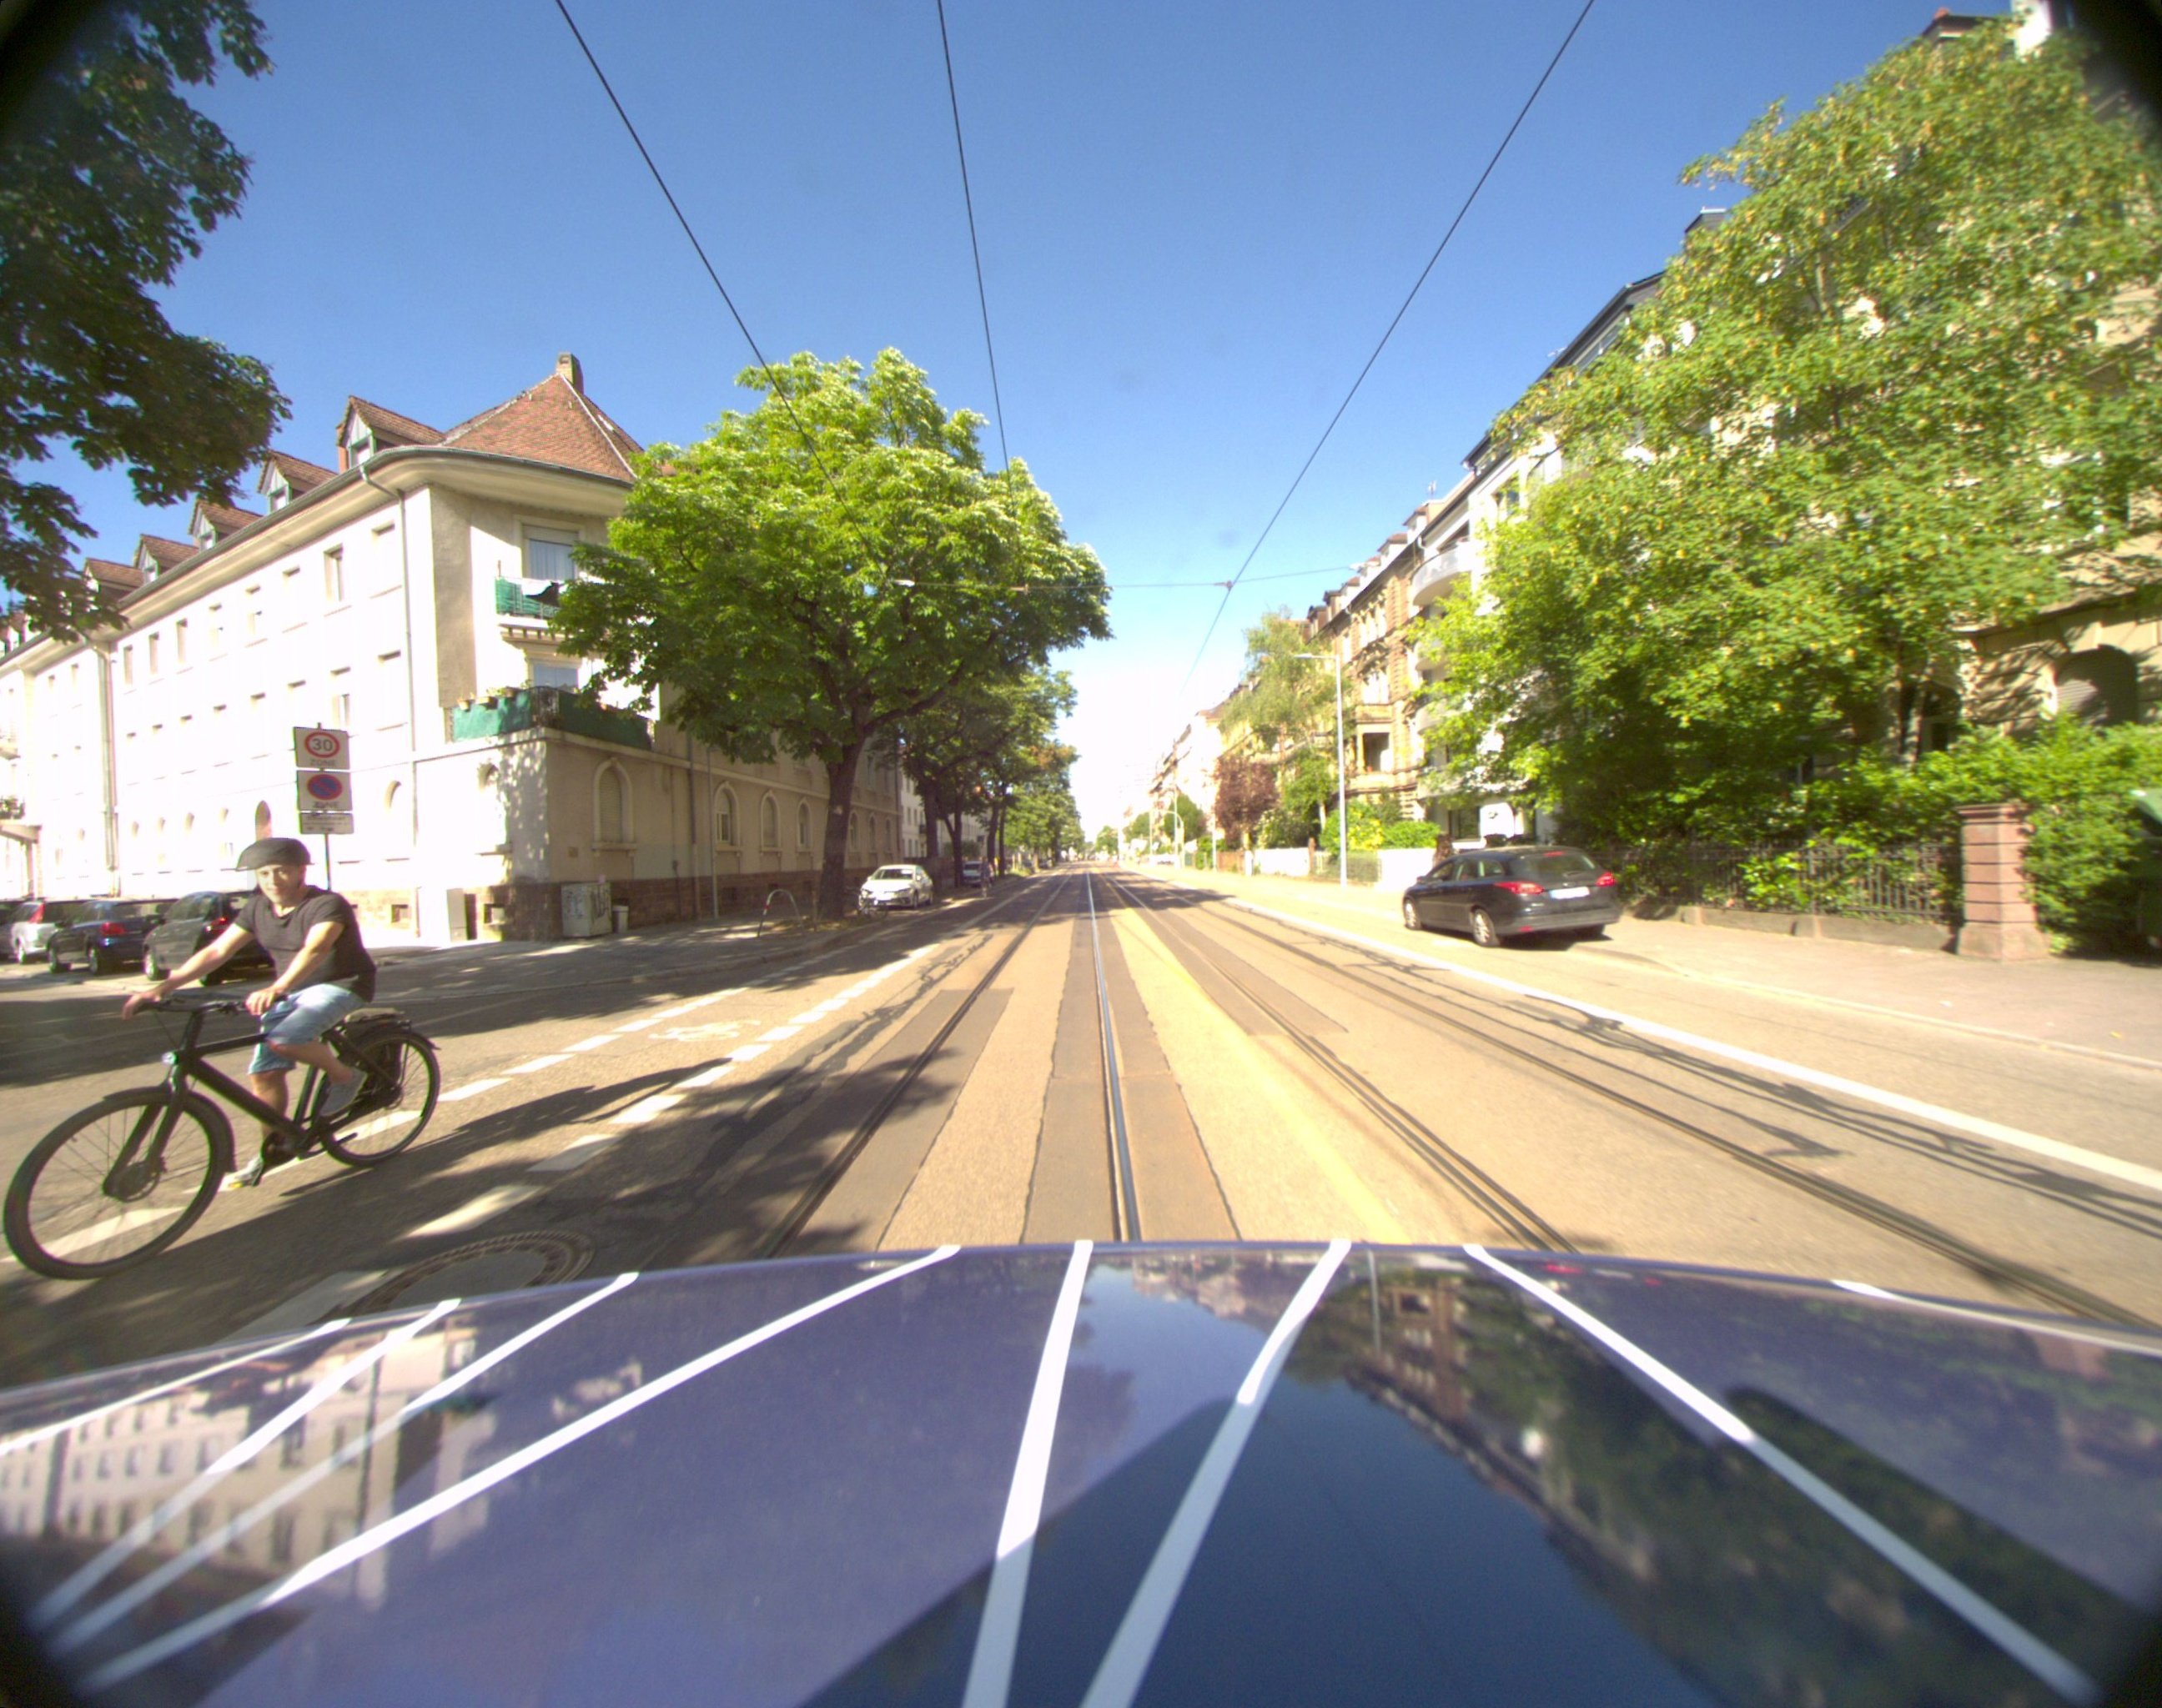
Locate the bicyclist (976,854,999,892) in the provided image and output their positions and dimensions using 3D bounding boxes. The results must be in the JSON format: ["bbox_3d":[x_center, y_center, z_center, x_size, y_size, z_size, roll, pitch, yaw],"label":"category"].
[{"bbox_3d":[-3.875,0.769,31.412,0.776,1.505,1.229,-2,0,-2],"label":"bicyclist"}]

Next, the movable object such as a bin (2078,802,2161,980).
[{"bbox_3d":[11.239,0.325,7.487,1.287,1.721,1.043,-4,0,16],"label":"movable object such as a bin"}]

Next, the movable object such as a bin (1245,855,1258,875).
[{"bbox_3d":[10.375,0.649,46.184,0.590,1.169,0.665,-2,0,-4],"label":"movable object such as a bin"}]

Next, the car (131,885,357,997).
[{"bbox_3d":[-14.427,1.405,13.088,3.431,1.530,1.725,-2,3,28],"label":"car"}]

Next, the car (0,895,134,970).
[{"bbox_3d":[-24.003,1.783,17.899,3.493,1.491,1.441,-2,2,28],"label":"car"}]

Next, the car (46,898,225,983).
[{"bbox_3d":[-18.792,1.635,15.094,3.351,1.390,1.575,-2,2,28],"label":"car"}]

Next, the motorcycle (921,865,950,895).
[{"bbox_3d":[-6.563,1.153,34.336,0.763,1.243,2.263,-1,0,3],"label":"motorcycle"}]

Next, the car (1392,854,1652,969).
[{"bbox_3d":[7.031,0.793,12.795,1.869,1.567,4.589,0,0,3],"label":"car"}]

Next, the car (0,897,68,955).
[{"bbox_3d":[-29.651,1.963,20.804,3.952,1.408,1.642,-2,2,28],"label":"car"}]

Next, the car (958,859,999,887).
[{"bbox_3d":[-5.853,1.076,43.882,1.824,1.475,4.748,-1,0,-2],"label":"car"}]

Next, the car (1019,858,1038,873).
[{"bbox_3d":[-5.422,1.132,78.459,1.761,1.458,4.613,-1,0,-2],"label":"car"}]

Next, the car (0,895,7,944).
[{"bbox_3d":[-35.282,2.104,23.639,3.759,1.491,1.642,-2,2,28],"label":"car"}]

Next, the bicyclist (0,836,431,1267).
[{"bbox_3d":[-3.989,0.809,3.628,0.763,1.728,1.046,-3,0,0],"label":"bicyclist"}]

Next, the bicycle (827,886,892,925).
[{"bbox_3d":[-5.895,1.357,20.282,1.570,0.974,0.640,-1,0,-8],"label":"bicycle"}]

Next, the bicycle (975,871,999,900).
[{"bbox_3d":[-3.864,1.270,31.411,0.776,1.080,2.058,-2,0,-2],"label":"bicycle"}]

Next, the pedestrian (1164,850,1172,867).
[{"bbox_3d":[9.435,0.489,82.485,0.809,1.825,0.754,-2,1,9],"label":"pedestrian"}]

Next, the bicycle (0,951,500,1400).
[{"bbox_3d":[-3.968,1.225,3.585,0.763,1.235,2.096,-3,0,0],"label":"bicycle"}]

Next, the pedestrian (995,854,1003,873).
[{"bbox_3d":[-8.757,1.046,81.293,0.743,2.002,0.687,-2,1,-7],"label":"pedestrian"}]

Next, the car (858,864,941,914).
[{"bbox_3d":[-6.003,1.116,25.594,1.705,1.463,4.214,-1,0,1],"label":"car"}]
